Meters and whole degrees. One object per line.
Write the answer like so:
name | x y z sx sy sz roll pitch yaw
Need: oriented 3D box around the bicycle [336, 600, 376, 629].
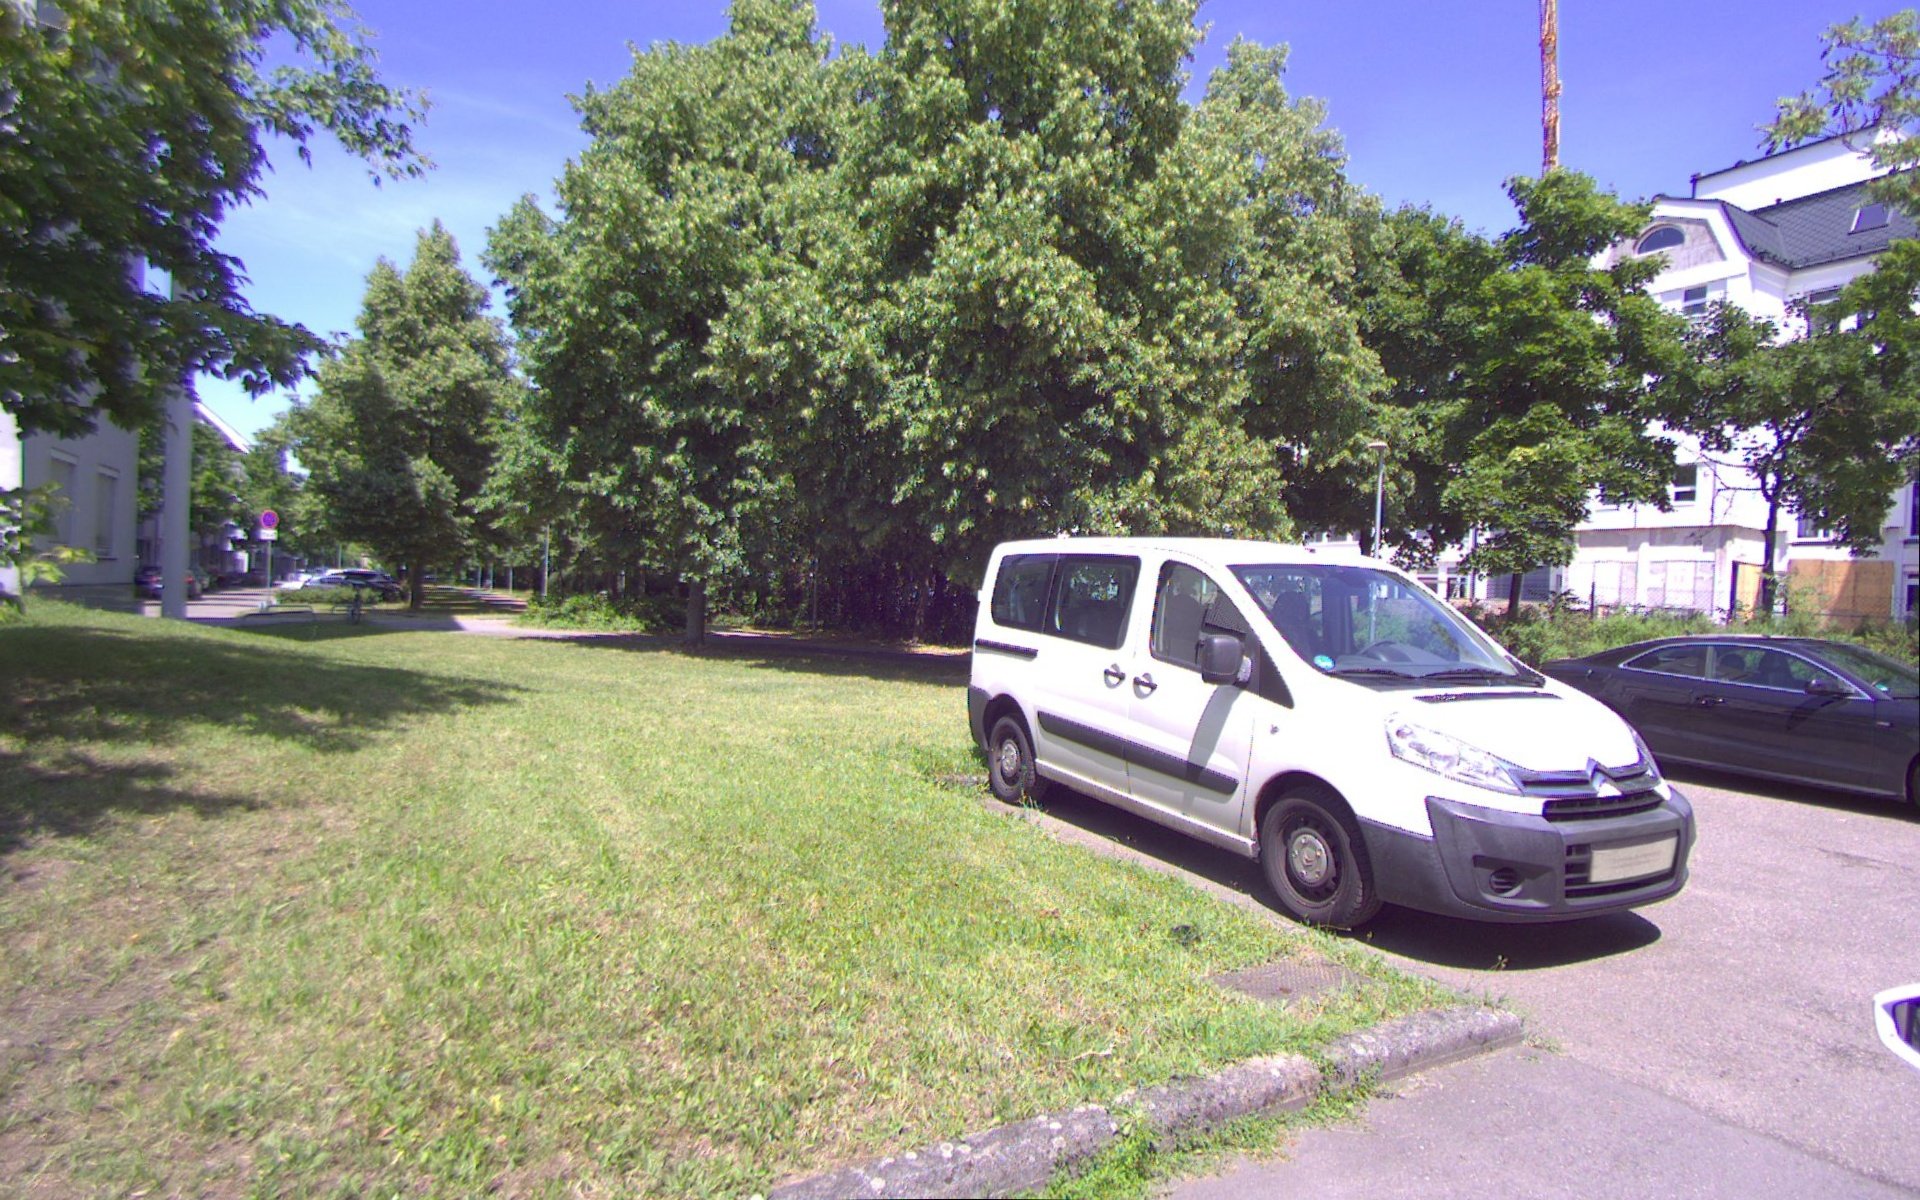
bicycle | -14.746 0.346 24.553 0.725 0.650 1.605 0 1 -28

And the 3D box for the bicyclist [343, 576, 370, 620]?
bicyclist | -14.766 -0.054 24.570 0.511 1.059 0.519 0 1 -27

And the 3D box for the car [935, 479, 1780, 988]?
car | 1.814 0.507 6.392 2.041 1.908 4.830 3 0 -26

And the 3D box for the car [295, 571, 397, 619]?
car | -28.806 -0.224 47.237 3.956 2.040 1.983 3 0 -32

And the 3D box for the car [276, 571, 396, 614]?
car | -27.155 -0.305 43.860 4.293 1.631 1.917 3 0 -32

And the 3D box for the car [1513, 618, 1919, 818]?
car | 7.691 0.978 8.999 1.998 1.398 4.413 3 0 -26

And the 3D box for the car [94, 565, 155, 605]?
car | -36.986 -0.674 44.424 1.796 1.624 3.843 3 0 -44

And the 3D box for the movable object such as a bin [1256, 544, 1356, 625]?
movable object such as a bin | 20.067 -0.908 58.626 1.973 4.430 5.687 3 0 -25

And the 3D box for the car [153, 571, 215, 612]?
car | -34.771 -0.388 44.971 1.796 1.624 3.843 3 0 -44
